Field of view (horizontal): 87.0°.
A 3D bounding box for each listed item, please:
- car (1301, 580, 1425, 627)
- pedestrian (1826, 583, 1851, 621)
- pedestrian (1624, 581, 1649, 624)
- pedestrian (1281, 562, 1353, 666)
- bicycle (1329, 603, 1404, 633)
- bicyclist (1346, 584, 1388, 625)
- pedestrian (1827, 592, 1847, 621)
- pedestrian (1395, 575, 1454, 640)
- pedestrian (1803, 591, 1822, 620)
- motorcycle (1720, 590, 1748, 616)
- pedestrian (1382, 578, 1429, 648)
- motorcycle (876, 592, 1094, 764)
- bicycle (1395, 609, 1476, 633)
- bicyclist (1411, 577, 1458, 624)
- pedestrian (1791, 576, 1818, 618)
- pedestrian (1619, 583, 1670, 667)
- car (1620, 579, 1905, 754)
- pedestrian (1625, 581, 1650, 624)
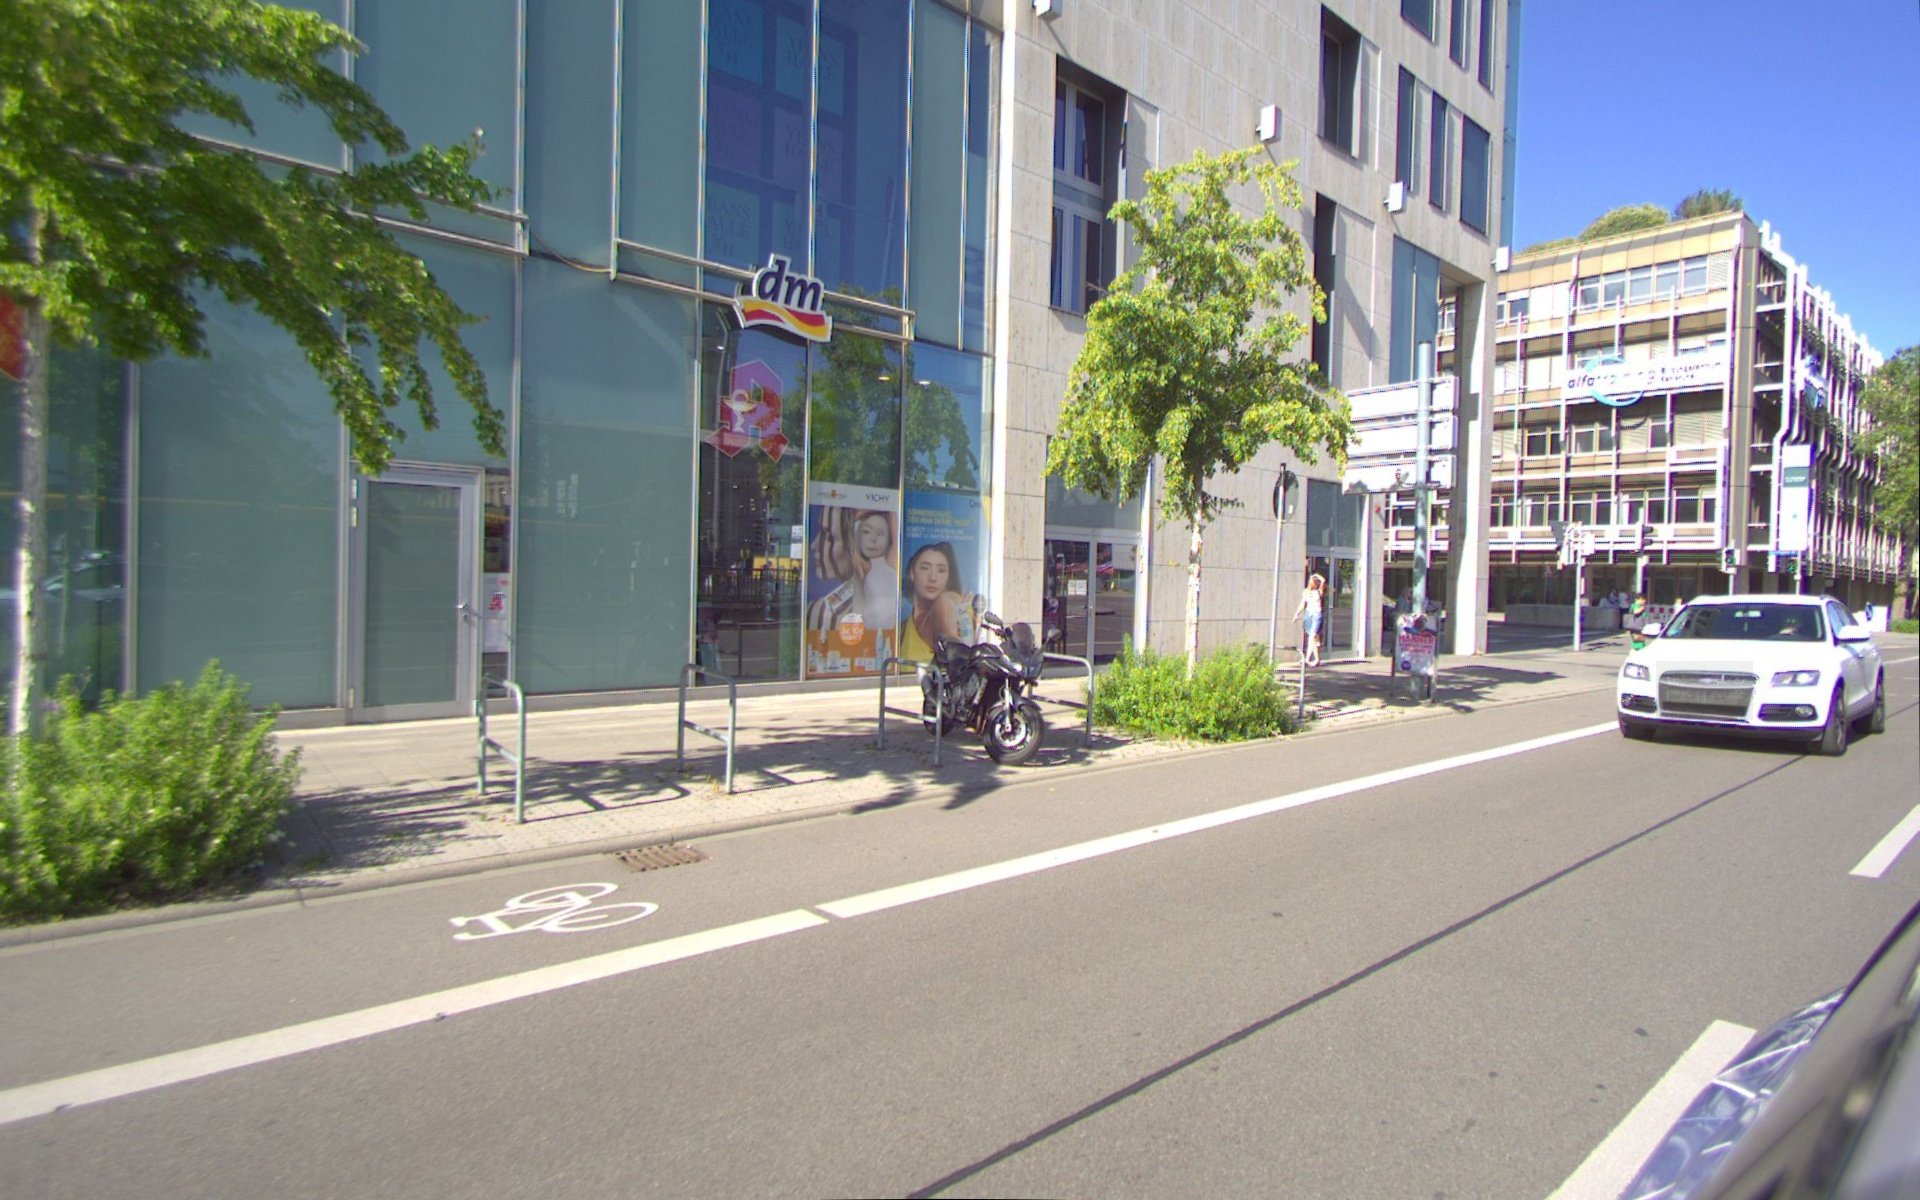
[{"bbox_3d":[15.825,0.090,39.938,1.827,1.632,4.197,-1,3,-37],"label":"car"},{"bbox_3d":[47.829,0.099,55.086,0.946,2.039,1.063,2,1,42],"label":"pedestrian"},{"bbox_3d":[26.438,0.095,39.558,0.659,1.632,0.519,4,3,41],"label":"pedestrian"},{"bbox_3d":[6.554,0.233,18.559,1.047,1.823,0.729,1,3,-40],"label":"pedestrian"},{"bbox_3d":[14.322,0.614,35.720,1.052,0.955,2.200,1,2,-36],"label":"bicycle"},{"bbox_3d":[14.361,0.146,35.687,1.056,1.413,0.936,1,1,-37],"label":"bicyclist"},{"bbox_3d":[50.072,0.352,57.787,0.715,1.620,0.668,1,3,-39],"label":"pedestrian"},{"bbox_3d":[13.847,0.216,30.158,1.496,1.823,0.969,0,3,-41],"label":"pedestrian"},{"bbox_3d":[49.500,0.319,58.755,0.715,1.620,0.668,1,3,-39],"label":"pedestrian"},{"bbox_3d":[44.858,0.147,58.623,2.084,1.459,0.825,1,1,-40],"label":"motorcycle"},{"bbox_3d":[10.658,0.297,24.222,0.736,1.628,0.725,2,1,-39],"label":"pedestrian"},{"bbox_3d":[0.166,0.644,9.567,0.886,1.340,2.196,1,2,-36],"label":"motorcycle"},{"bbox_3d":[15.814,0.695,33.692,1.052,0.679,2.200,1,2,-36],"label":"bicycle"},{"bbox_3d":[15.797,0.014,33.709,1.052,1.494,1.025,1,1,-36],"label":"bicyclist"},{"bbox_3d":[40.995,-0.153,49.150,0.945,2.039,1.064,2,1,39],"label":"pedestrian"},{"bbox_3d":[14.633,0.521,21.623,0.686,1.723,0.658,1,3,-42],"label":"pedestrian"},{"bbox_3d":[9.313,0.618,11.612,4.336,1.634,1.823,0,1,-41],"label":"car"},{"bbox_3d":[26.117,0.090,38.991,0.659,1.632,0.519,4,3,41],"label":"pedestrian"}]
